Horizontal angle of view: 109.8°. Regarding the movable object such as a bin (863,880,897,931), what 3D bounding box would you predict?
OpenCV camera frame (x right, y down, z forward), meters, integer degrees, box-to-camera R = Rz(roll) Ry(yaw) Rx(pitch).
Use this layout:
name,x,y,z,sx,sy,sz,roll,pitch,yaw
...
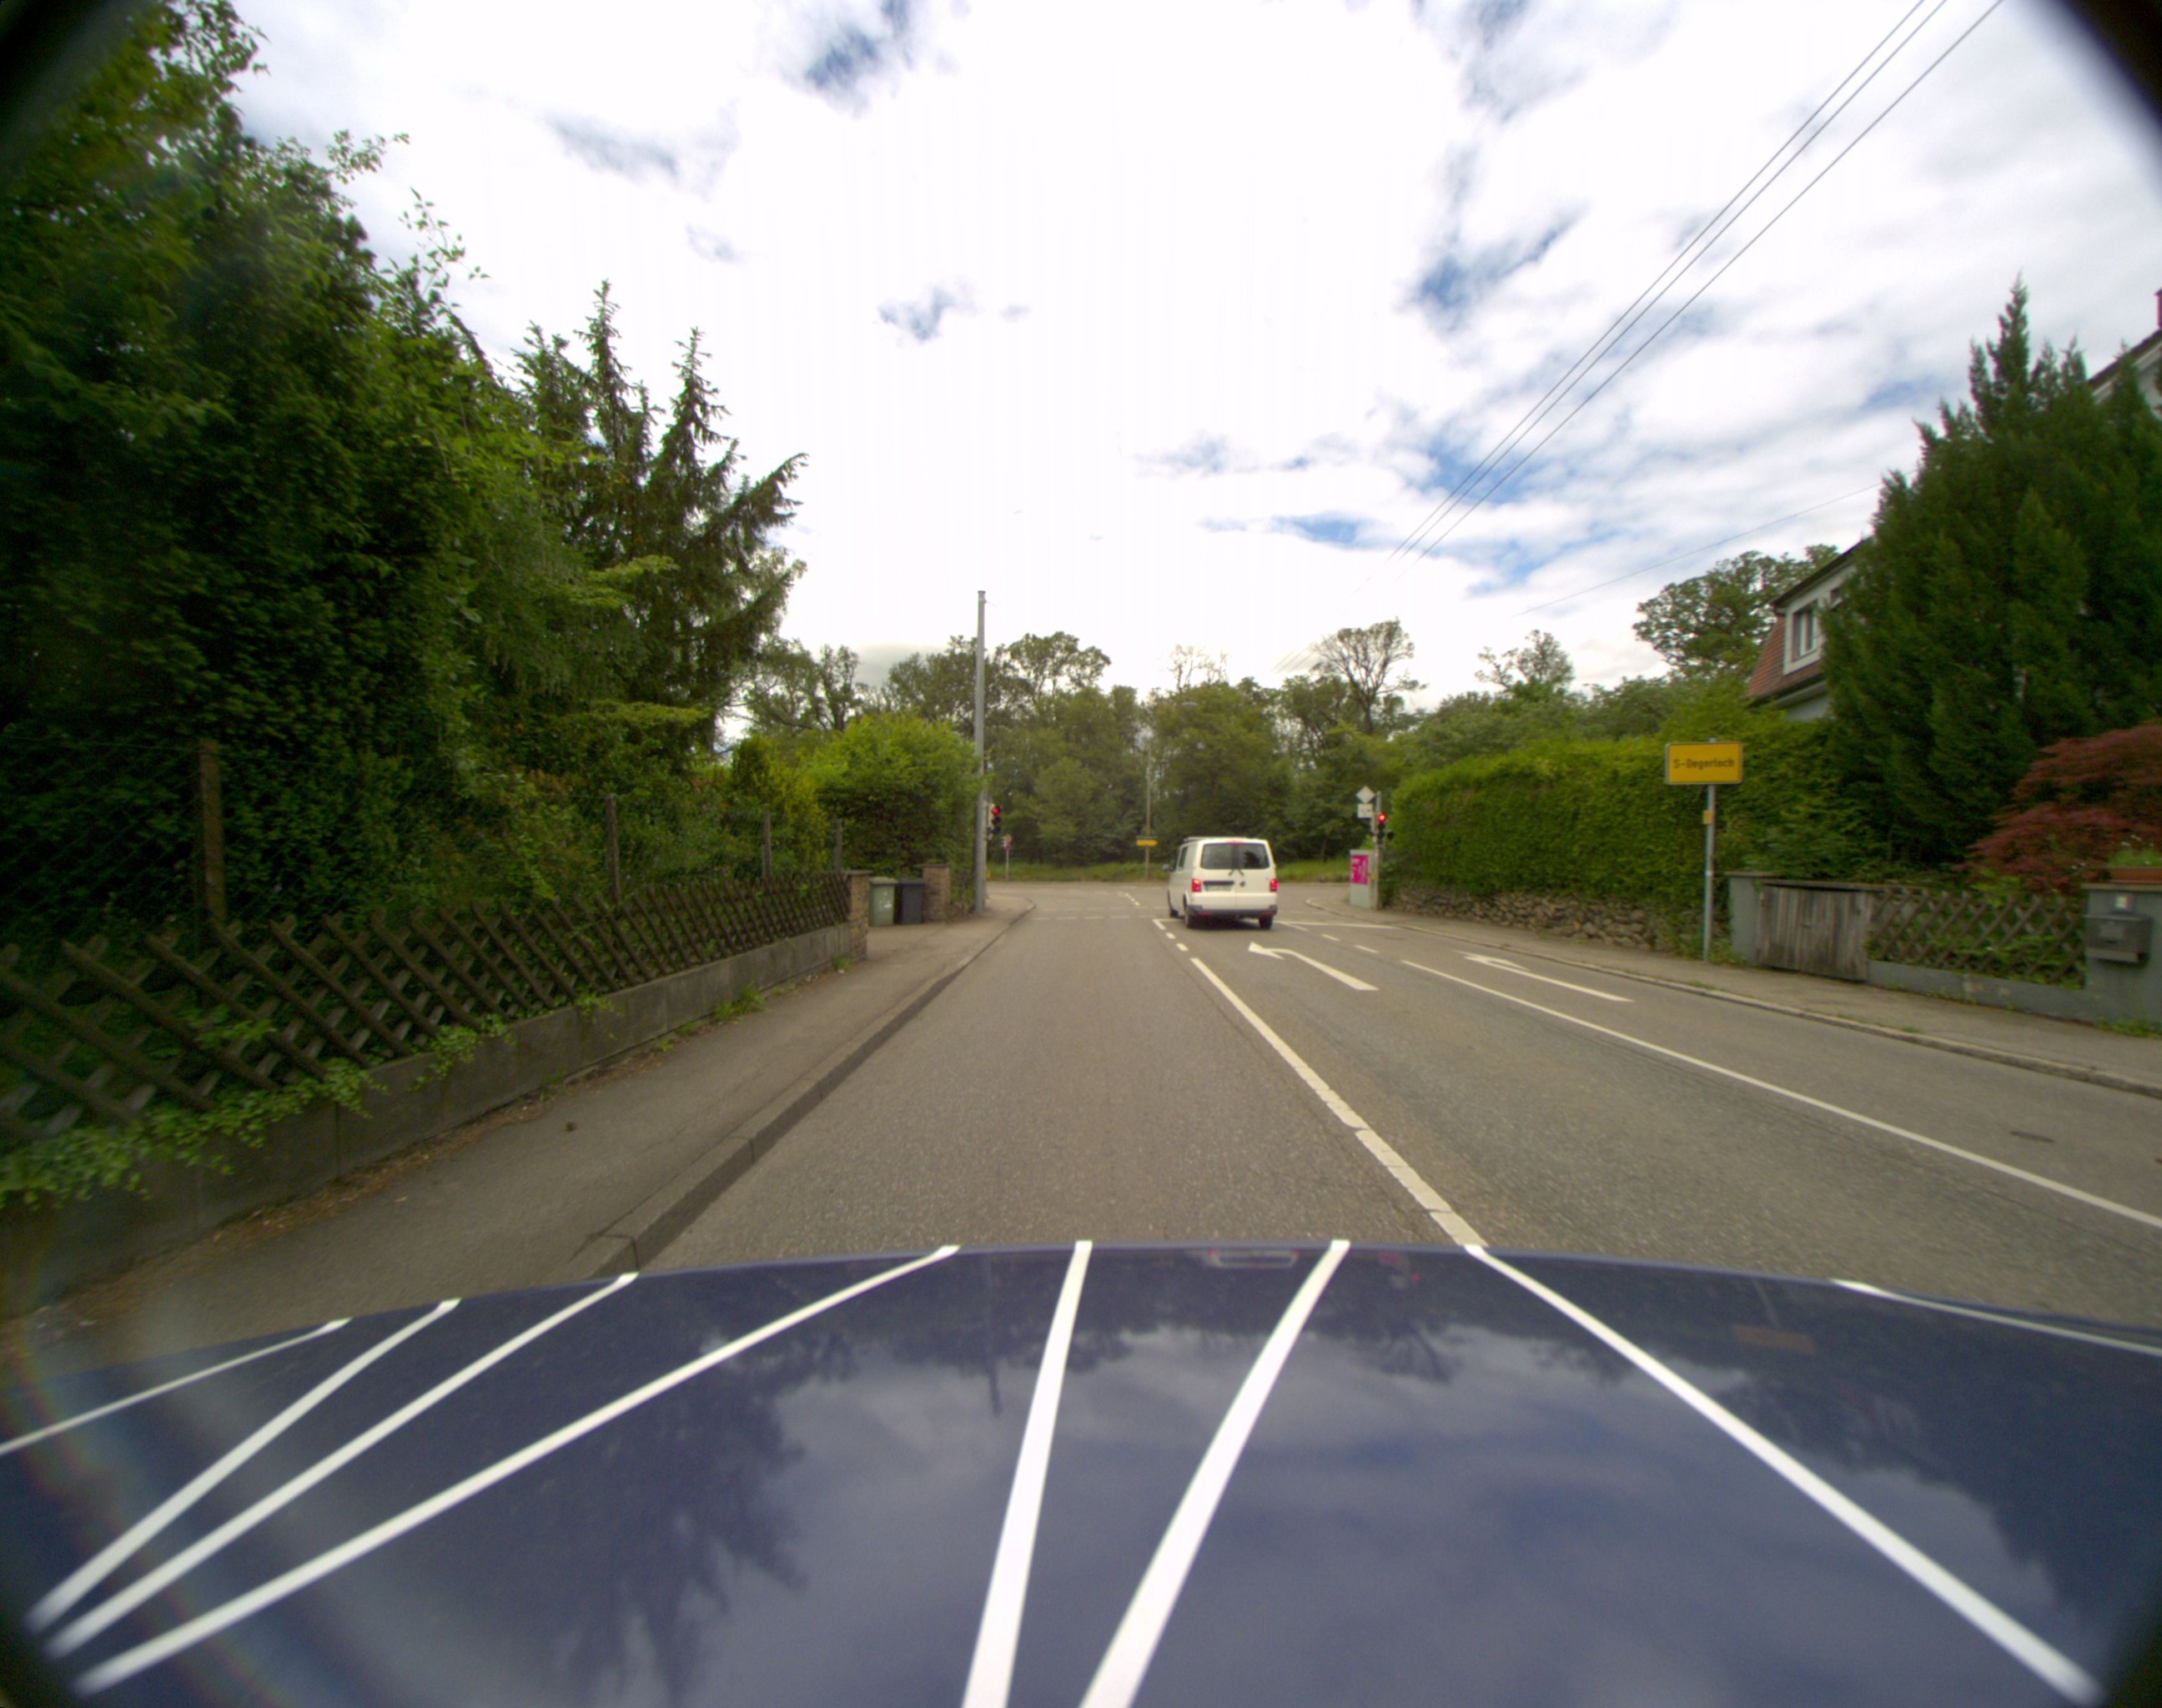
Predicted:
name,x,y,z,sx,sy,sz,roll,pitch,yaw
movable object such as a bin,-4.306,1.089,16.282,0.541,1.055,0.508,1,-1,-37

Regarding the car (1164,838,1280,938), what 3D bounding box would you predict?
name,x,y,z,sx,sy,sz,roll,pitch,yaw
car,3.173,0.694,18.156,1.863,2.036,5.171,1,0,1

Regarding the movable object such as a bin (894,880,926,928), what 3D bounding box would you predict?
name,x,y,z,sx,sy,sz,roll,pitch,yaw
movable object such as a bin,-3.775,1.096,16.753,0.541,1.039,0.508,2,-1,-26
